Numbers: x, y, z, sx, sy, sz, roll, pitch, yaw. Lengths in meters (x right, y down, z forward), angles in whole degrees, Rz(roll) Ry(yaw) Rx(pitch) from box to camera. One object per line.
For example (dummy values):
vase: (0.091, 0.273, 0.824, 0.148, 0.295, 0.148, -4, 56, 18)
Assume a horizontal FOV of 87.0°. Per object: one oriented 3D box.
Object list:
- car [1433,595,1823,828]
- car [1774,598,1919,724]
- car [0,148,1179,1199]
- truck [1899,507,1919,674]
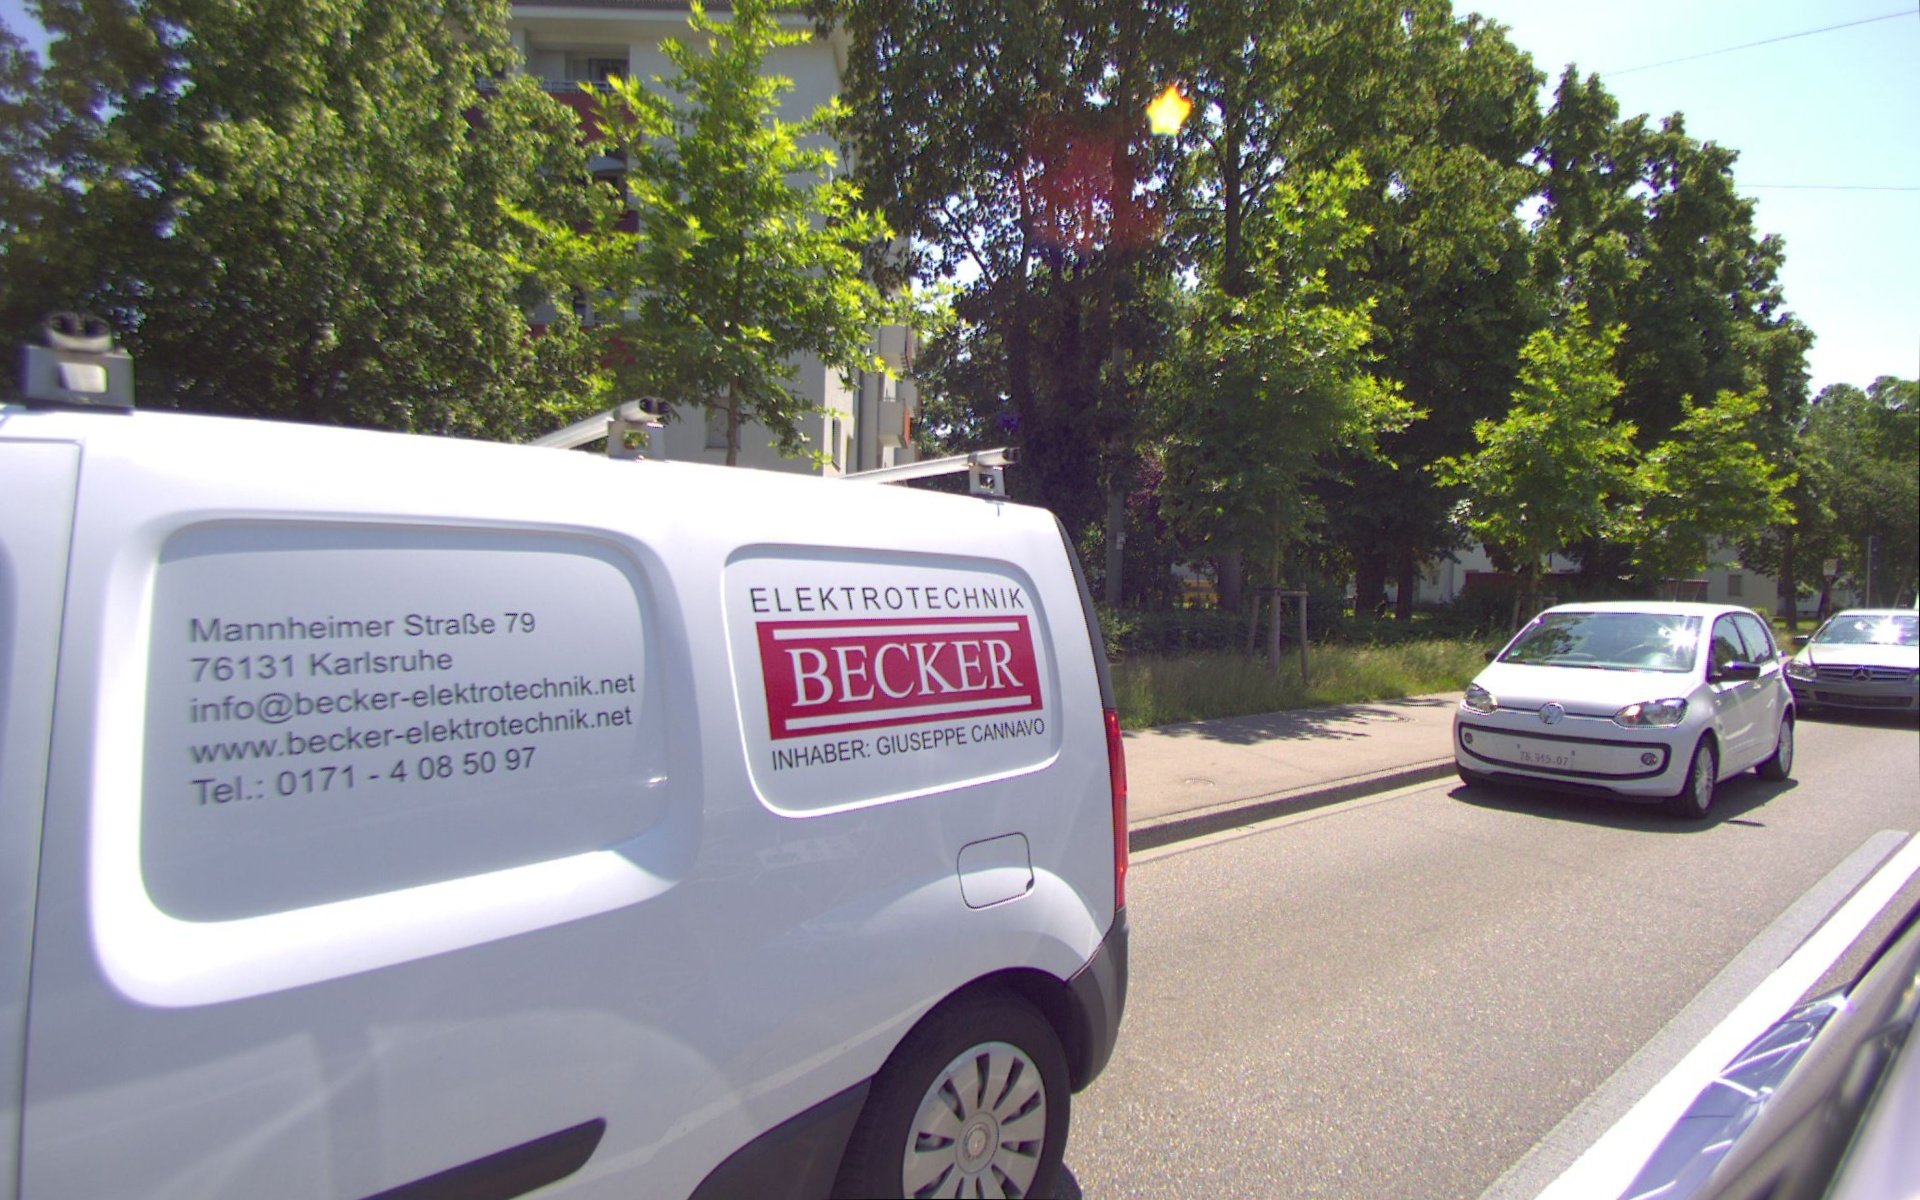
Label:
car: (5.585, 0.710, 8.293, 3.786, 1.468, 1.662, 0, 0, -40)
car: (12.578, 0.719, 13.540, 3.900, 1.478, 1.903, 0, 1, -40)
car: (-1.707, 0.433, 1.822, 4.376, 1.905, 1.828, 0, 0, -40)
truck: (22.794, -0.163, 21.838, 8.157, 3.319, 2.295, 0, 1, -37)
